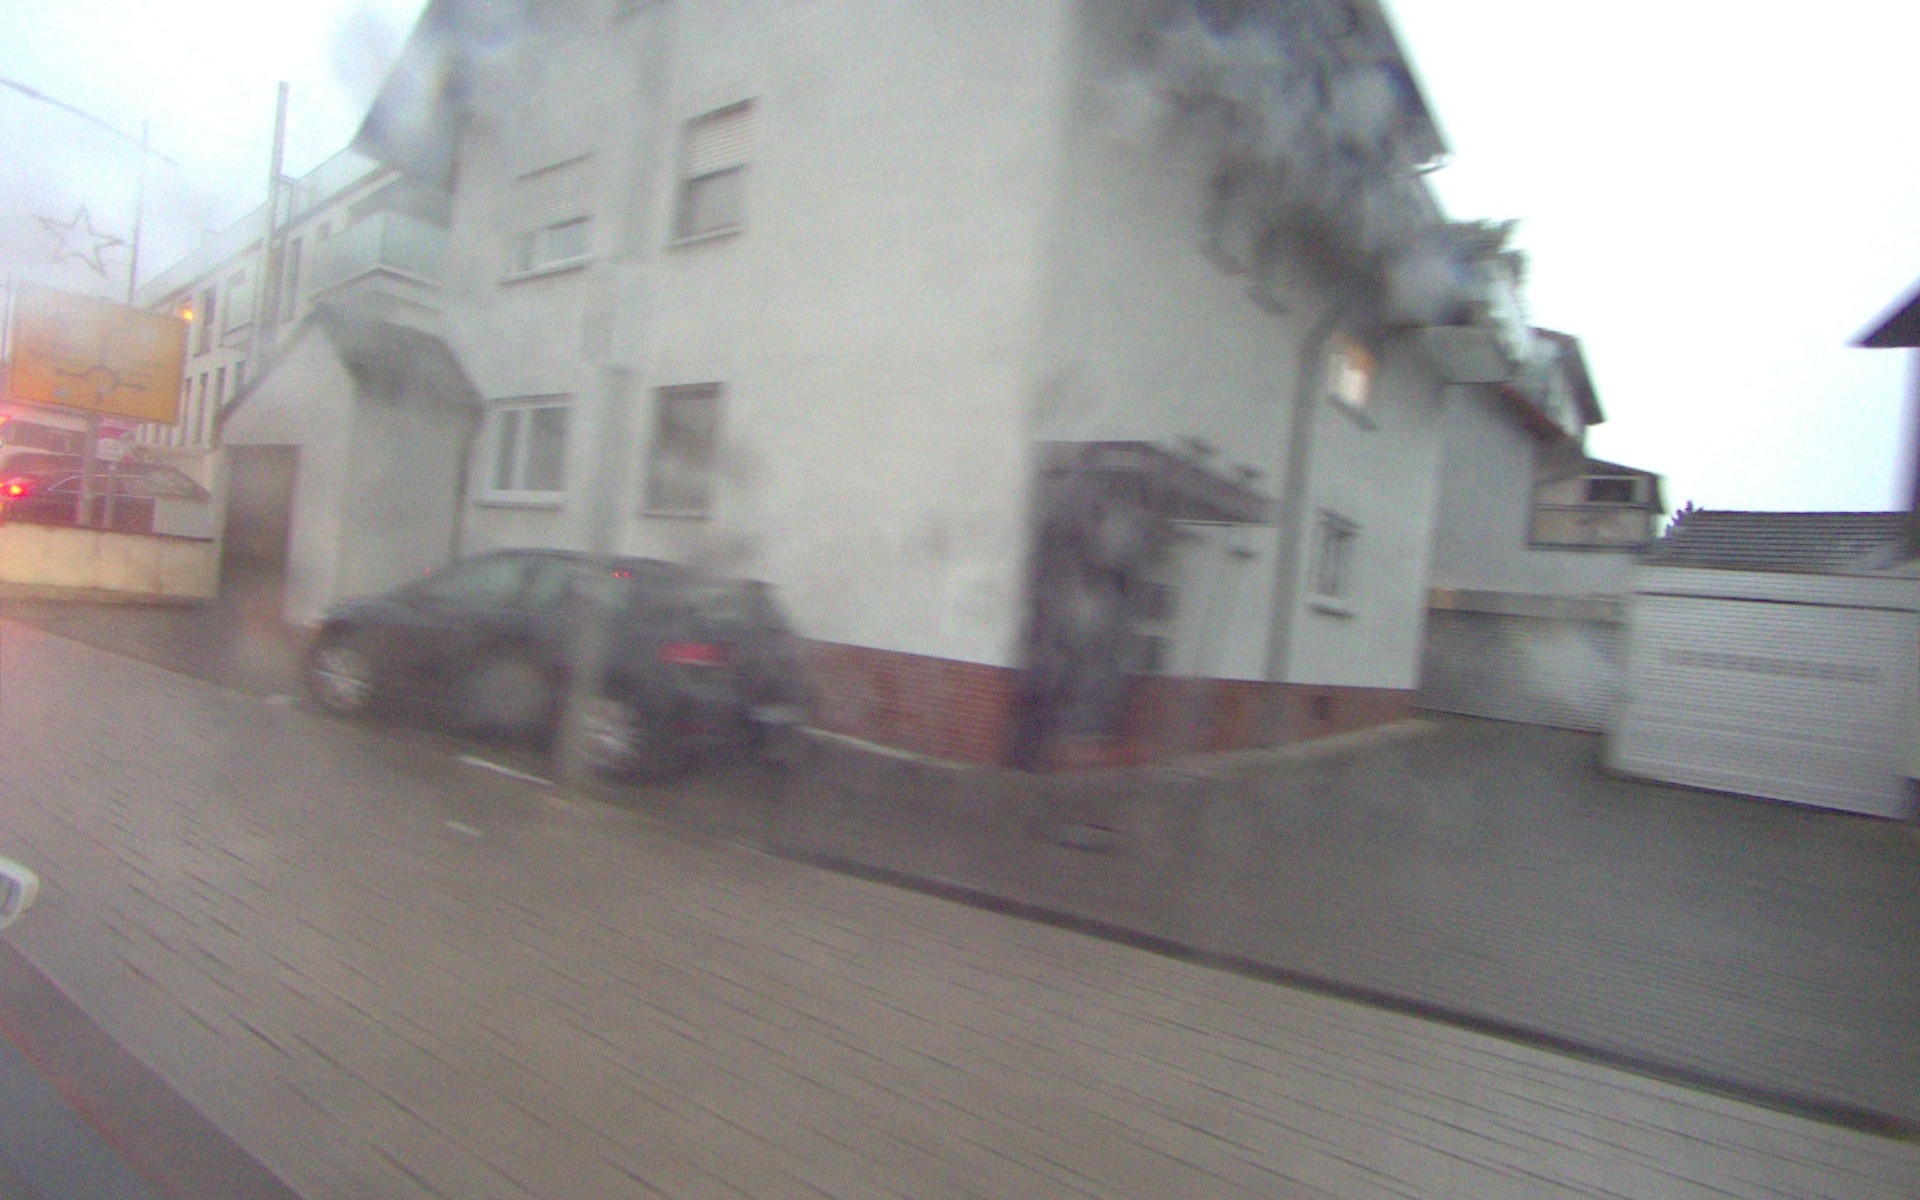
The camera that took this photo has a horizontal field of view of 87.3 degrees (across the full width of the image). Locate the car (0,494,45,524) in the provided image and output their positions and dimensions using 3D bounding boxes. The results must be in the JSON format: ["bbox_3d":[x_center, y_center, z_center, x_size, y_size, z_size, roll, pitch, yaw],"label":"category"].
[{"bbox_3d":[-51.548,-4.989,55.184,1.554,1.432,3.567,2,3,-35],"label":"car"}]

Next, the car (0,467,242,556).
[{"bbox_3d":[-18.019,-1.846,21.358,1.775,1.663,4.167,7,6,34],"label":"car"}]

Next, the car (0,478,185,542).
[{"bbox_3d":[-27.071,-2.768,31.424,1.765,1.479,4.201,6,2,36],"label":"car"}]

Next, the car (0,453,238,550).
[{"bbox_3d":[-20.339,-2.302,24.171,1.922,1.947,4.548,6,4,40],"label":"car"}]

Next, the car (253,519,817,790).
[{"bbox_3d":[-3.282,0.311,7.807,3.842,1.412,1.769,6,1,23],"label":"car"}]
